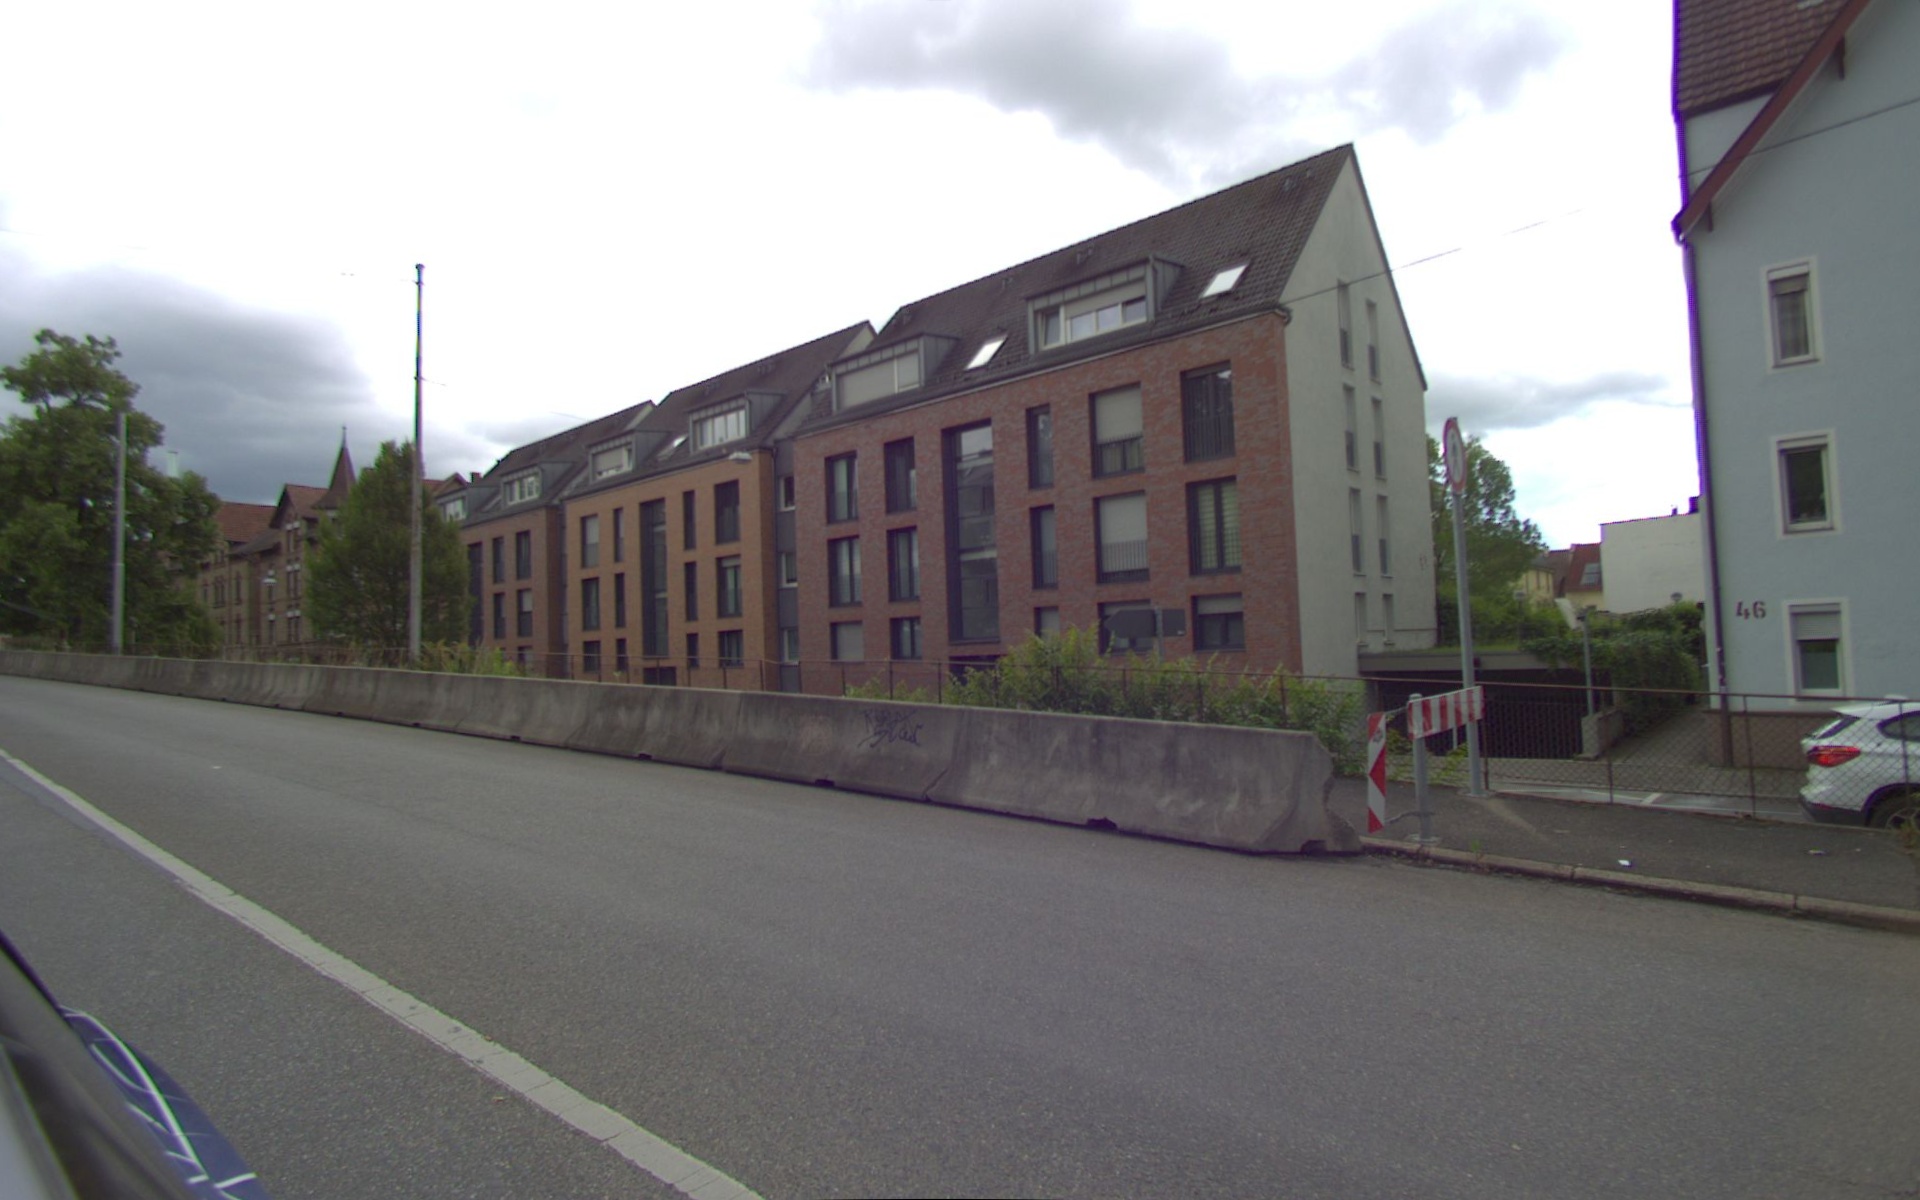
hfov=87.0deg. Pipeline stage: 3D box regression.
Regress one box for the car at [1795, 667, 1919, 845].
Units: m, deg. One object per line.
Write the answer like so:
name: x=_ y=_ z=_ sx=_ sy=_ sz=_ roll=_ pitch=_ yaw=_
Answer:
car: x=10.435 y=1.458 z=9.107 sx=4.421 sy=1.525 sz=1.808 roll=-2 pitch=-1 yaw=42

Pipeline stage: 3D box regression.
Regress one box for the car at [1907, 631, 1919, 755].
car: x=14.466 y=1.165 z=12.271 sx=4.231 sy=1.567 sz=1.665 roll=-2 pitch=-1 yaw=41

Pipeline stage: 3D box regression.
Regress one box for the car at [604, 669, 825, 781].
car: x=-4.203 y=1.995 z=17.029 sx=3.996 sy=1.525 sz=1.519 roll=-2 pitch=-1 yaw=39

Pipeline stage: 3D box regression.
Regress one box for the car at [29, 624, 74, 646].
car: x=-67.523 y=2.600 z=75.209 sx=3.997 sy=1.564 sz=1.973 roll=-1 pitch=-2 yaw=40

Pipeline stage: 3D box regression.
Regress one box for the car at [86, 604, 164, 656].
car: x=-45.211 y=1.557 z=54.774 sx=5.736 sy=2.601 sz=2.531 roll=0 pitch=0 yaw=43

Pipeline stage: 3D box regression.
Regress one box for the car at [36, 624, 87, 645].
car: x=-59.929 y=2.328 z=67.471 sx=3.997 sy=1.364 sz=1.973 roll=-2 pitch=-3 yaw=40
